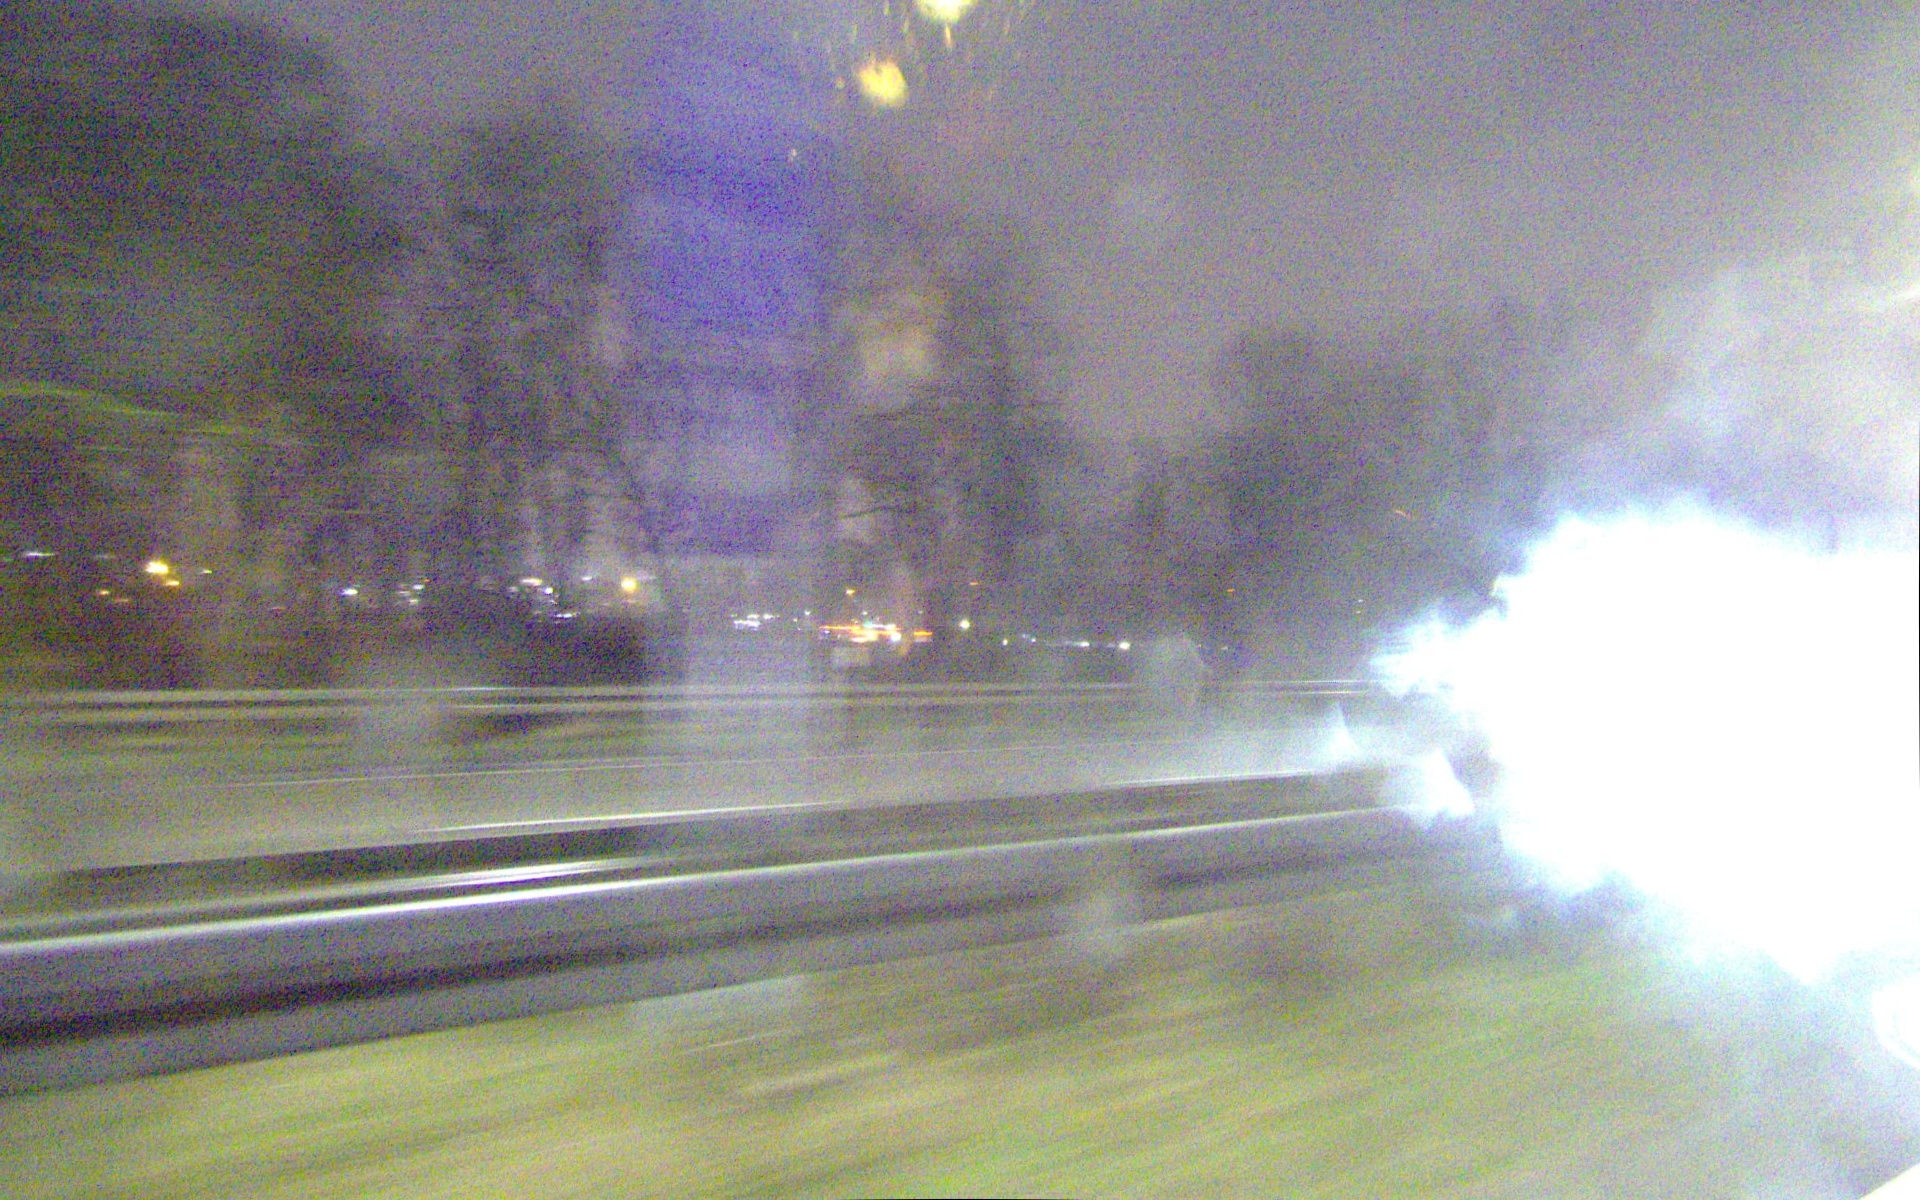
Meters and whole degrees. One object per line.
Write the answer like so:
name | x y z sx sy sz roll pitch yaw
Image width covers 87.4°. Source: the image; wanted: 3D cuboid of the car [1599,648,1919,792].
car | 10.436 1.403 12.810 4.720 1.495 1.848 2 -1 -29
